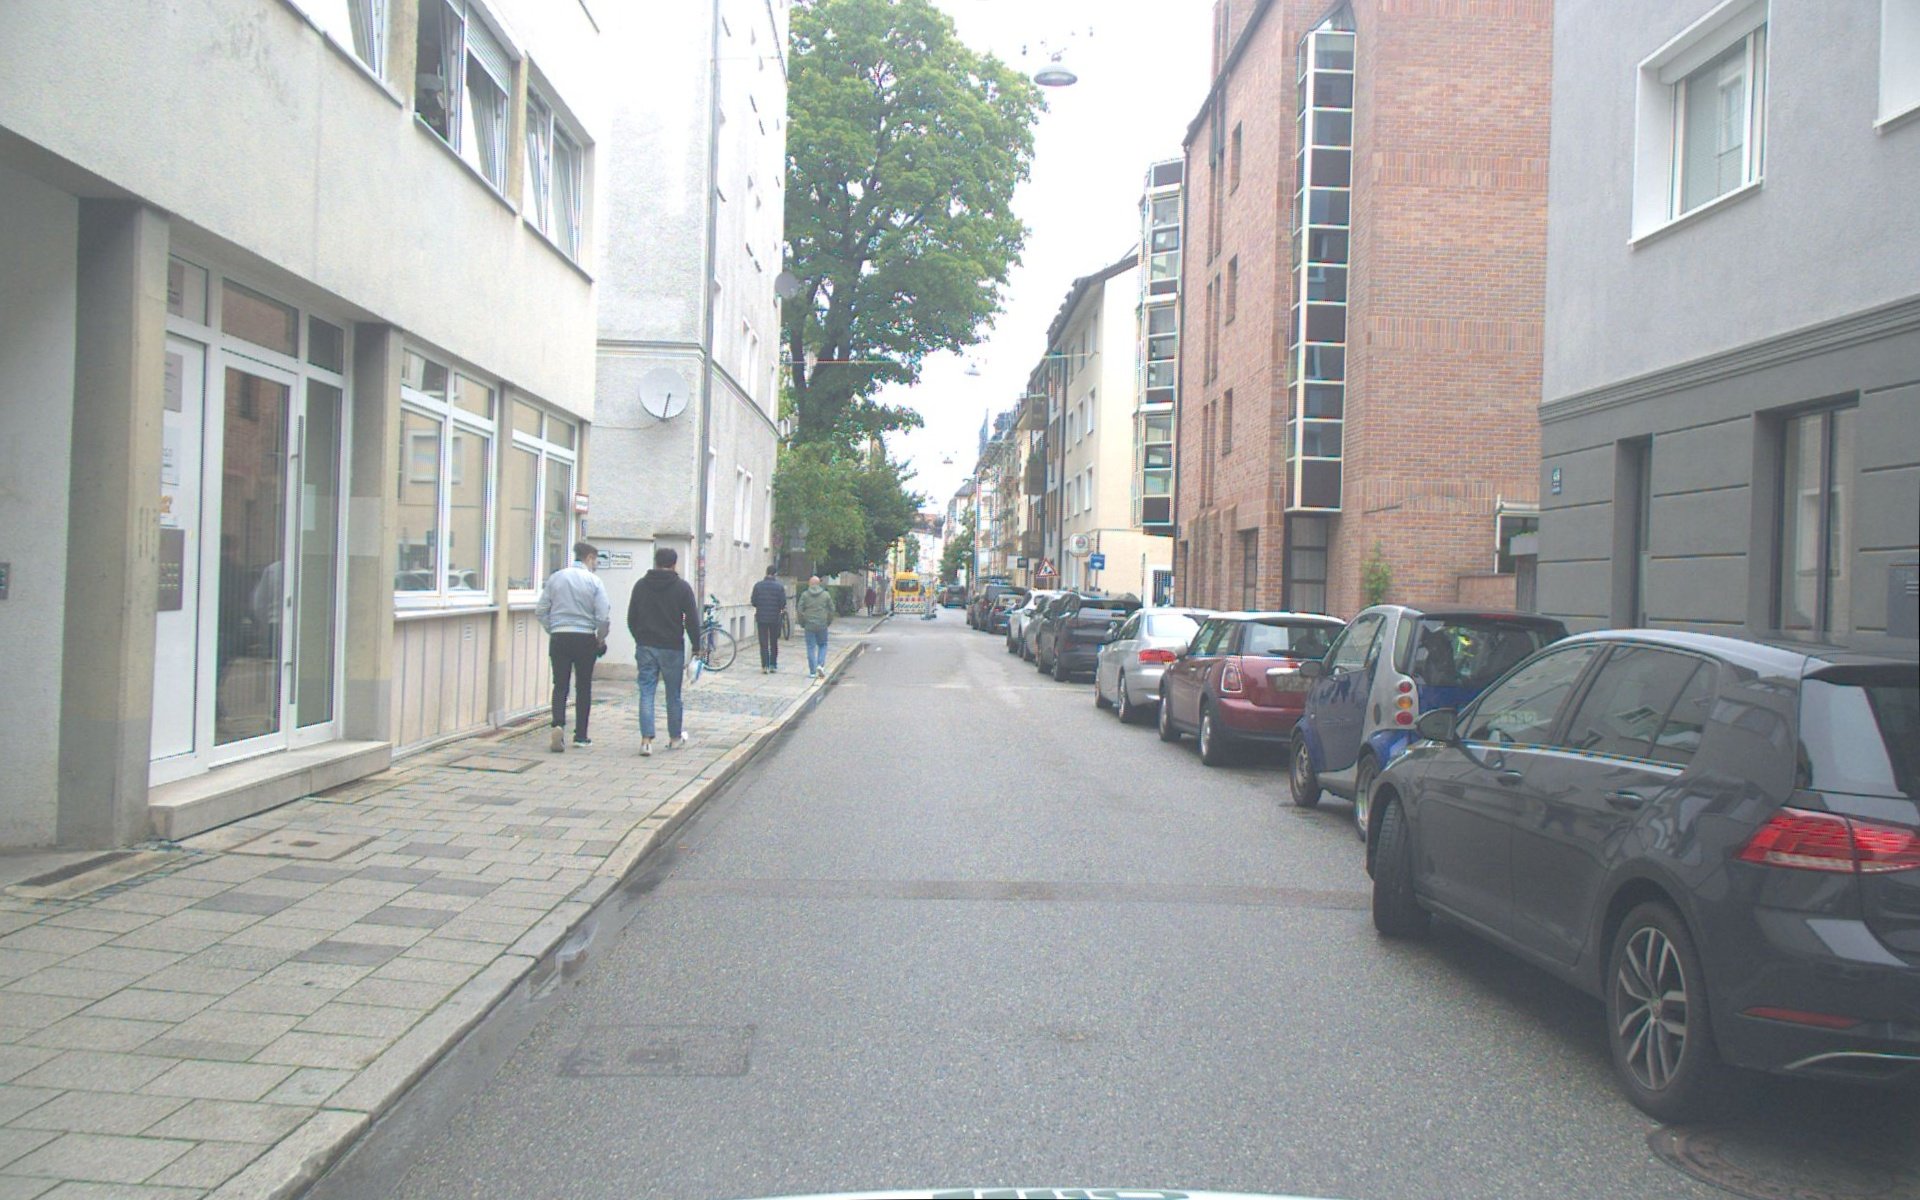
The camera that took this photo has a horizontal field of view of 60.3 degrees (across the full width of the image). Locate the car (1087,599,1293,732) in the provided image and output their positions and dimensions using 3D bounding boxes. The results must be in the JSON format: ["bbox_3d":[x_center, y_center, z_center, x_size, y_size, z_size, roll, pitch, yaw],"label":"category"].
[{"bbox_3d":[2.838,0.756,21.383,1.800,1.442,4.599,2,0,-3],"label":"car"}]

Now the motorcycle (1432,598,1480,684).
[{"bbox_3d":[8.282,0.665,27.641,0.528,1.368,1.942,0,0,10],"label":"motorcycle"}]

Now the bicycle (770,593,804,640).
[{"bbox_3d":[-4.389,0.403,41.862,0.465,1.130,1.751,2,0,-18],"label":"bicycle"}]

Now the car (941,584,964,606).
[{"bbox_3d":[-0.680,-0.468,145.192,1.766,1.741,3.824,5,0,-3],"label":"car"}]

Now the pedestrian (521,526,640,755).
[{"bbox_3d":[-3.167,0.330,13.888,0.704,1.828,0.916,3,0,-1],"label":"pedestrian"}]

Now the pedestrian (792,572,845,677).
[{"bbox_3d":[-2.359,0.407,27.699,0.738,1.688,0.906,3,0,-2],"label":"pedestrian"}]

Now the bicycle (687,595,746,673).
[{"bbox_3d":[-4.027,0.539,27.260,0.632,1.239,1.655,1,0,-20],"label":"bicycle"}]

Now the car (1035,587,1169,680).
[{"bbox_3d":[2.593,0.572,31.225,1.848,1.582,4.388,2,0,-4],"label":"car"}]

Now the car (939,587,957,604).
[{"bbox_3d":[-1.272,-0.460,173.705,1.765,1.642,3.999,2,0,-1],"label":"car"}]

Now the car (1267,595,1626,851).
[{"bbox_3d":[3.342,0.763,11.929,1.491,1.538,3.201,2,0,-3],"label":"car"}]

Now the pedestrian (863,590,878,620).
[{"bbox_3d":[-4.584,0.272,85.010,0.741,1.517,0.831,1,0,-1],"label":"pedestrian"}]

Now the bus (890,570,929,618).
[{"bbox_3d":[-3.439,-0.370,113.298,2.540,3.156,6.304,1,0,-1],"label":"bus"}]

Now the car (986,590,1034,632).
[{"bbox_3d":[1.892,0.403,63.334,1.592,1.513,3.807,2,0,-1],"label":"car"}]

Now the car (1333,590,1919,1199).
[{"bbox_3d":[2.926,0.776,6.382,1.803,1.555,4.291,2,0,-3],"label":"car"}]

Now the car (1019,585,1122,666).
[{"bbox_3d":[2.371,0.538,36.344,1.687,1.664,3.877,1,0,-5],"label":"car"}]

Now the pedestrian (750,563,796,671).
[{"bbox_3d":[-3.105,0.281,27.565,0.600,1.743,0.823,3,0,-2],"label":"pedestrian"}]

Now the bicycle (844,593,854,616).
[{"bbox_3d":[-5.448,0.234,81.255,0.437,1.092,2.466,1,0,-3],"label":"bicycle"}]

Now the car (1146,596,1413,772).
[{"bbox_3d":[3.079,0.743,16.789,1.711,1.487,4.148,2,0,-3],"label":"car"}]

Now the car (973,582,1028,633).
[{"bbox_3d":[1.621,0.276,67.688,1.766,1.851,3.997,5,0,-4],"label":"car"}]

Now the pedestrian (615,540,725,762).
[{"bbox_3d":[-2.449,0.421,14.037,0.704,1.796,0.838,3,0,-1],"label":"pedestrian"}]

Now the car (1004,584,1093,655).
[{"bbox_3d":[2.174,0.453,41.528,1.714,1.658,4.194,1,0,-4],"label":"car"}]
